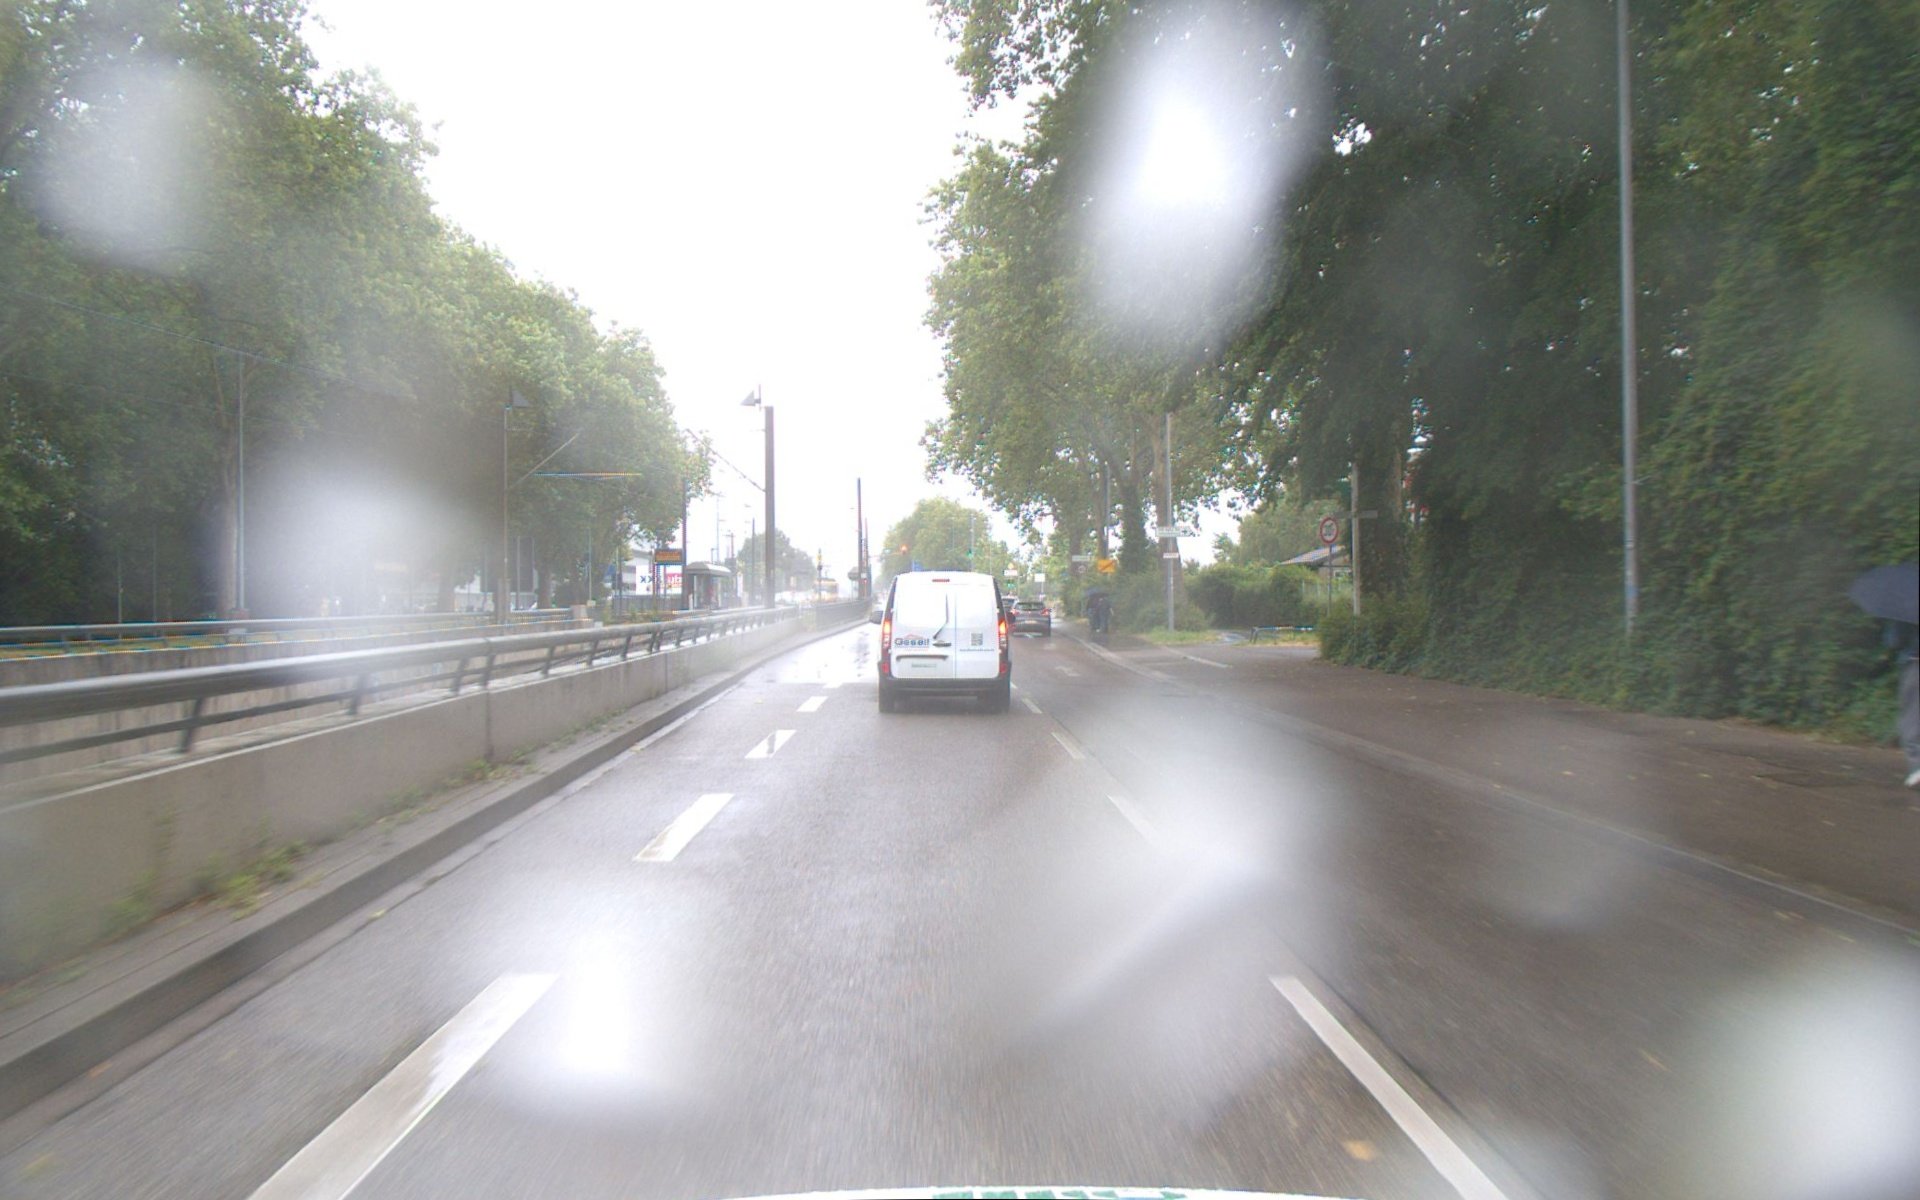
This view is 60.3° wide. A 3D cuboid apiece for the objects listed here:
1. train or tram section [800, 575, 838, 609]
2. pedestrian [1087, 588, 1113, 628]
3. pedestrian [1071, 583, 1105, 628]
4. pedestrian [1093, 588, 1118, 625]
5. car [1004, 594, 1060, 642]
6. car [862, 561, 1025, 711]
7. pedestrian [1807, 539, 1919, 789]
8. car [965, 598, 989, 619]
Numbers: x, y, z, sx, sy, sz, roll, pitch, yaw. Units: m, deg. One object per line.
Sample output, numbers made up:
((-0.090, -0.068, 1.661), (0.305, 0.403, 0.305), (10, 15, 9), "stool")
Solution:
((-18.678, -1.012, 220.484), (3.695, 4.107, 27.079), (2, 0, -2), "train or tram section")
((5.722, 0.326, 67.697), (0.927, 1.617, 1.294), (-1, 0, 0), "pedestrian")
((5.393, 0.220, 69.666), (1.215, 1.816, 1.147), (-4, 0, 0), "pedestrian")
((5.772, 0.246, 65.778), (0.874, 1.414, 1.016), (-2, 0, 0), "pedestrian")
((2.850, 0.705, 66.041), (1.953, 1.780, 3.999), (2, 0, -1), "car")
((-0.304, 0.448, 22.741), (1.984, 1.806, 4.271), (2, 0, -3), "car")
((6.971, 0.430, 12.054), (0.947, 1.732, 1.140), (-2, 0, -2), "pedestrian")
((1.524, 0.767, 147.112), (1.953, 1.780, 3.999), (2, 0, -1), "car")
